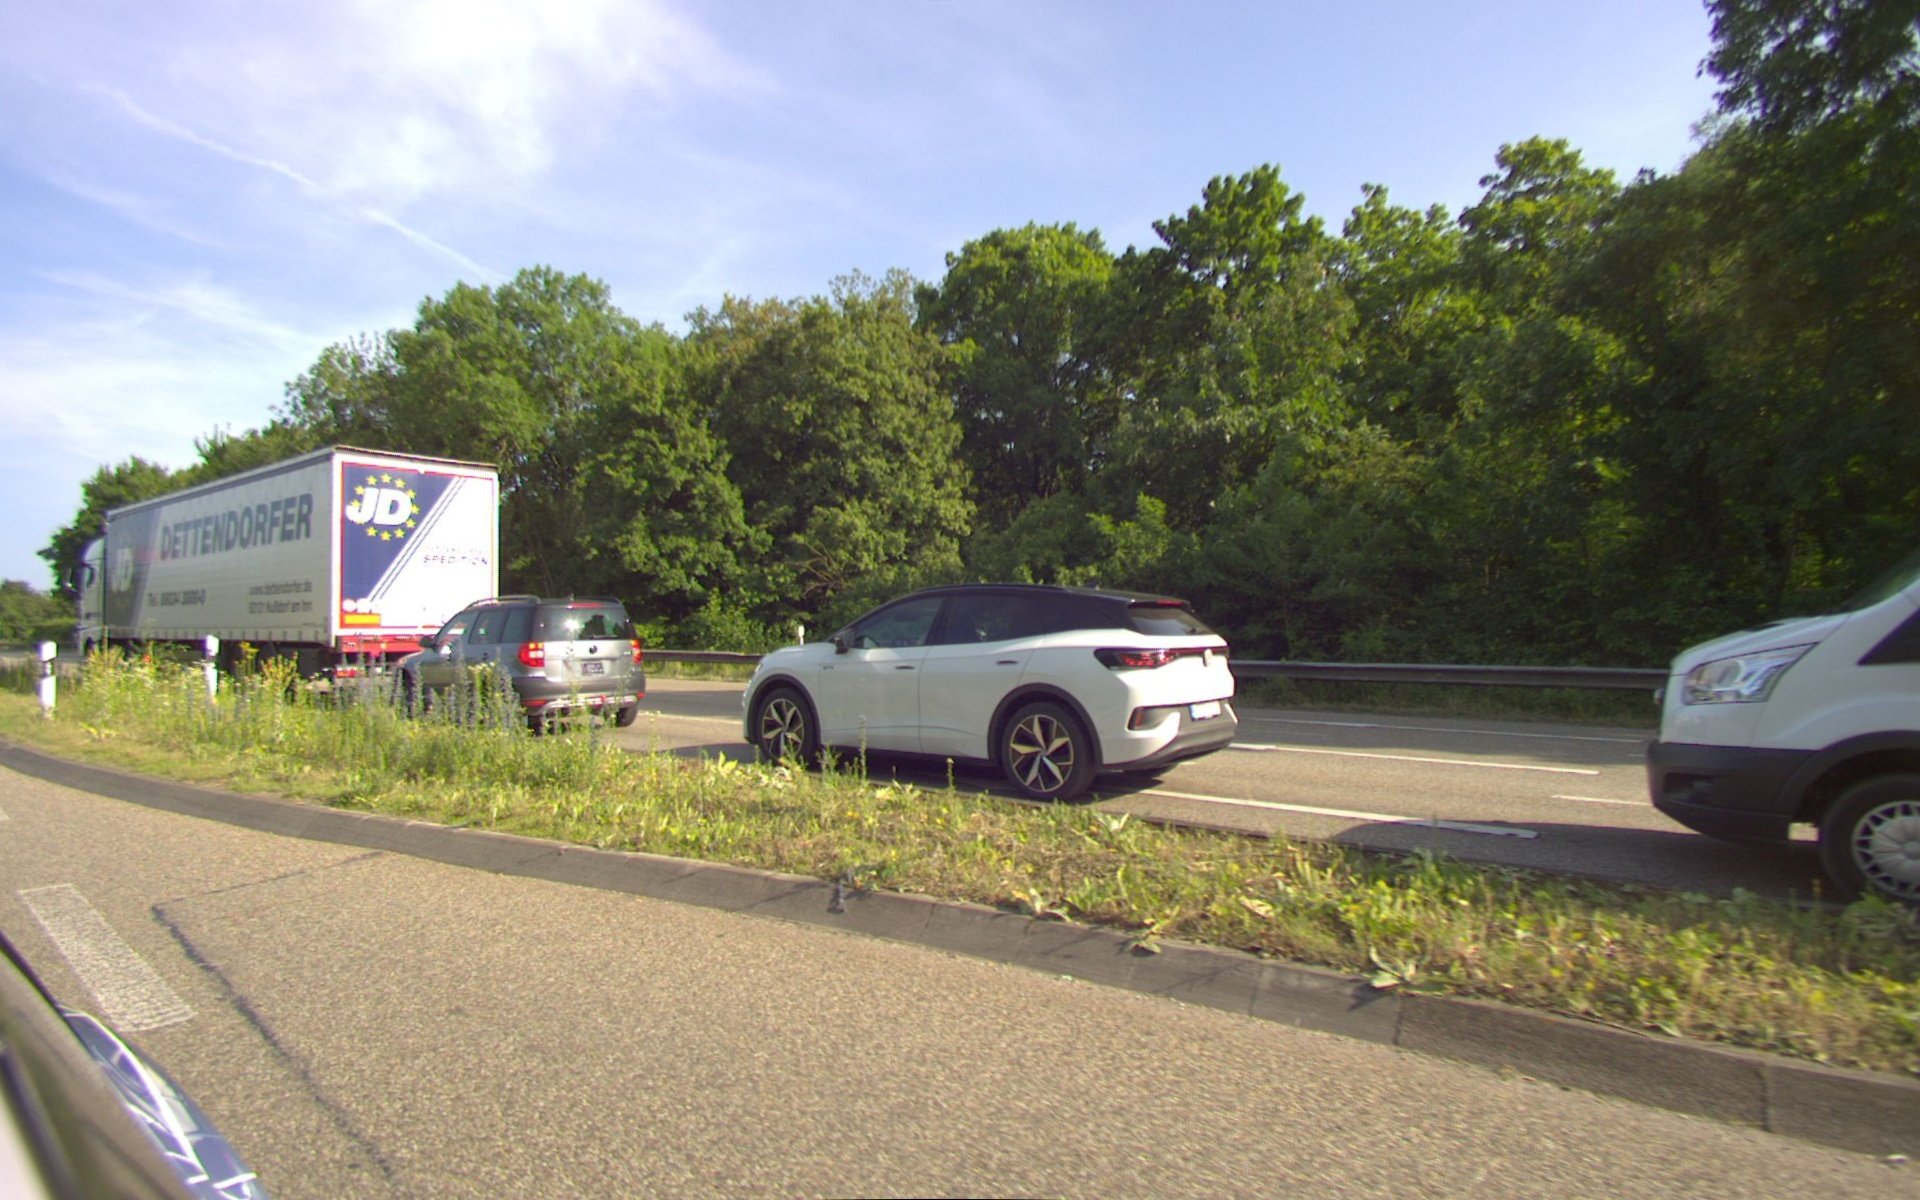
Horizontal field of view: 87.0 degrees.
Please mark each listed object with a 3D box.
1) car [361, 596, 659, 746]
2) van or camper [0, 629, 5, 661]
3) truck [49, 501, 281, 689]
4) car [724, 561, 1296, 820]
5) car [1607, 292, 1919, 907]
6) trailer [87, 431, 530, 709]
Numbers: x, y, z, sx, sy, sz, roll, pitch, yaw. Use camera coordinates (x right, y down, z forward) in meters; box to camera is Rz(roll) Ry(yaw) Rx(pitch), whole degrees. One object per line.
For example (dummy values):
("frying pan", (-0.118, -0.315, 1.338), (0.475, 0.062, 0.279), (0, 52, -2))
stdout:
("car", (-5.930, 0.866, 13.129), (4.364, 1.644, 1.684), (-2, -3, 38))
("van or camper", (-84.757, 3.860, 87.411), (6.430, 2.732, 2.389), (-2, -4, 39))
("truck", (-19.638, -0.039, 24.867), (6.711, 4.027, 2.864), (-2, 0, 38))
("car", (0.192, 0.661, 8.571), (4.740, 1.644, 1.684), (-2, -3, 38))
("car", (6.182, -0.049, 3.730), (6.157, 2.553, 2.054), (-2, -3, 39))
("trailer", (-13.683, -0.257, 20.171), (13.994, 4.026, 2.963), (-2, 0, 38))
